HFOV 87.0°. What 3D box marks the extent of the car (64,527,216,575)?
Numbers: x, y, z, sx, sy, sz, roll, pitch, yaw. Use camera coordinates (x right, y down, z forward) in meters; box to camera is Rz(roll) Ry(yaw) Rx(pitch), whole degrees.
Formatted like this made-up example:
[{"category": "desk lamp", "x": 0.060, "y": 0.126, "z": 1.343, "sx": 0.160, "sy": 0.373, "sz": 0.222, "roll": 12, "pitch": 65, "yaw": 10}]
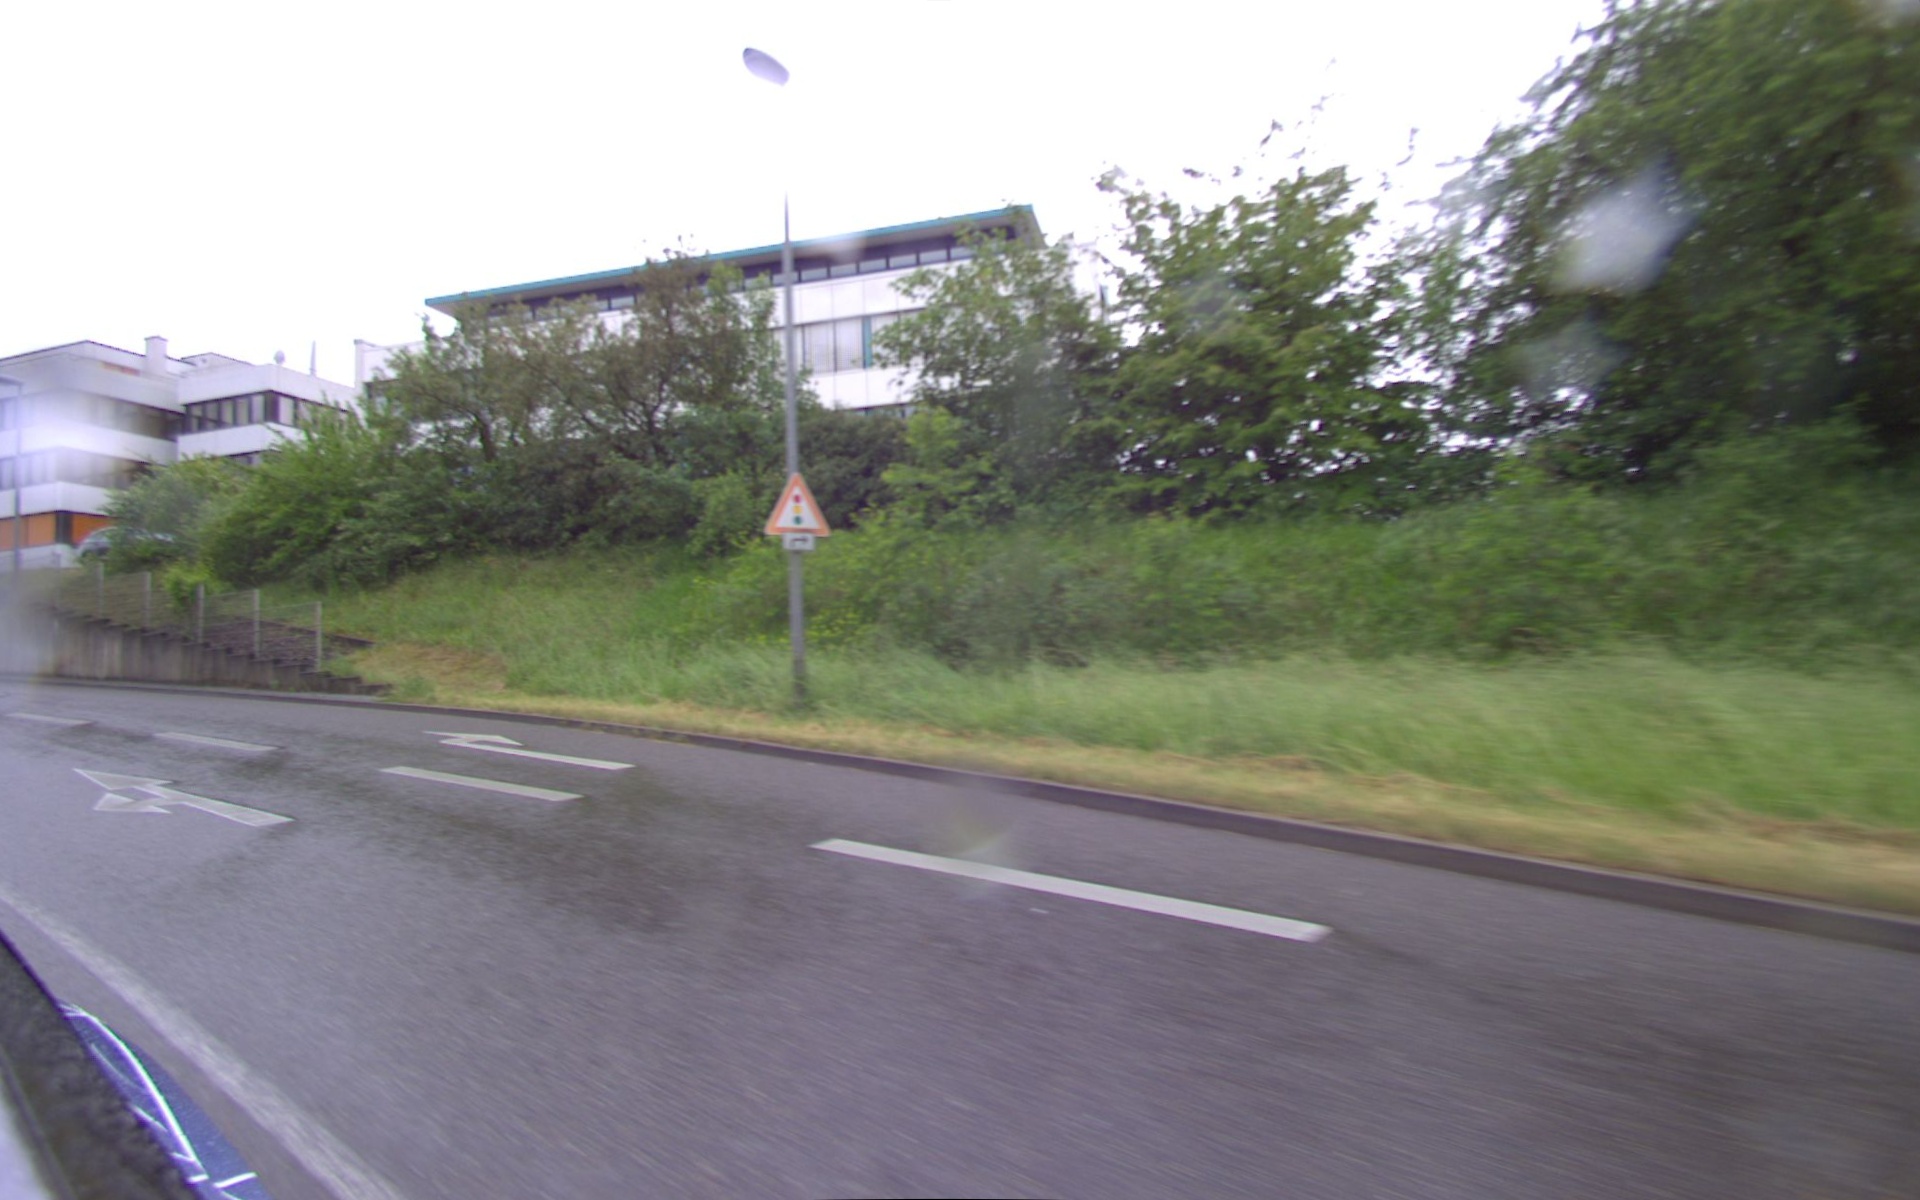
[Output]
[{"category": "car", "x": -26.654, "y": -1.554, "z": 32.902, "sx": 4.502, "sy": 1.353, "sz": 1.905, "roll": 0, "pitch": -2, "yaw": 22}]
